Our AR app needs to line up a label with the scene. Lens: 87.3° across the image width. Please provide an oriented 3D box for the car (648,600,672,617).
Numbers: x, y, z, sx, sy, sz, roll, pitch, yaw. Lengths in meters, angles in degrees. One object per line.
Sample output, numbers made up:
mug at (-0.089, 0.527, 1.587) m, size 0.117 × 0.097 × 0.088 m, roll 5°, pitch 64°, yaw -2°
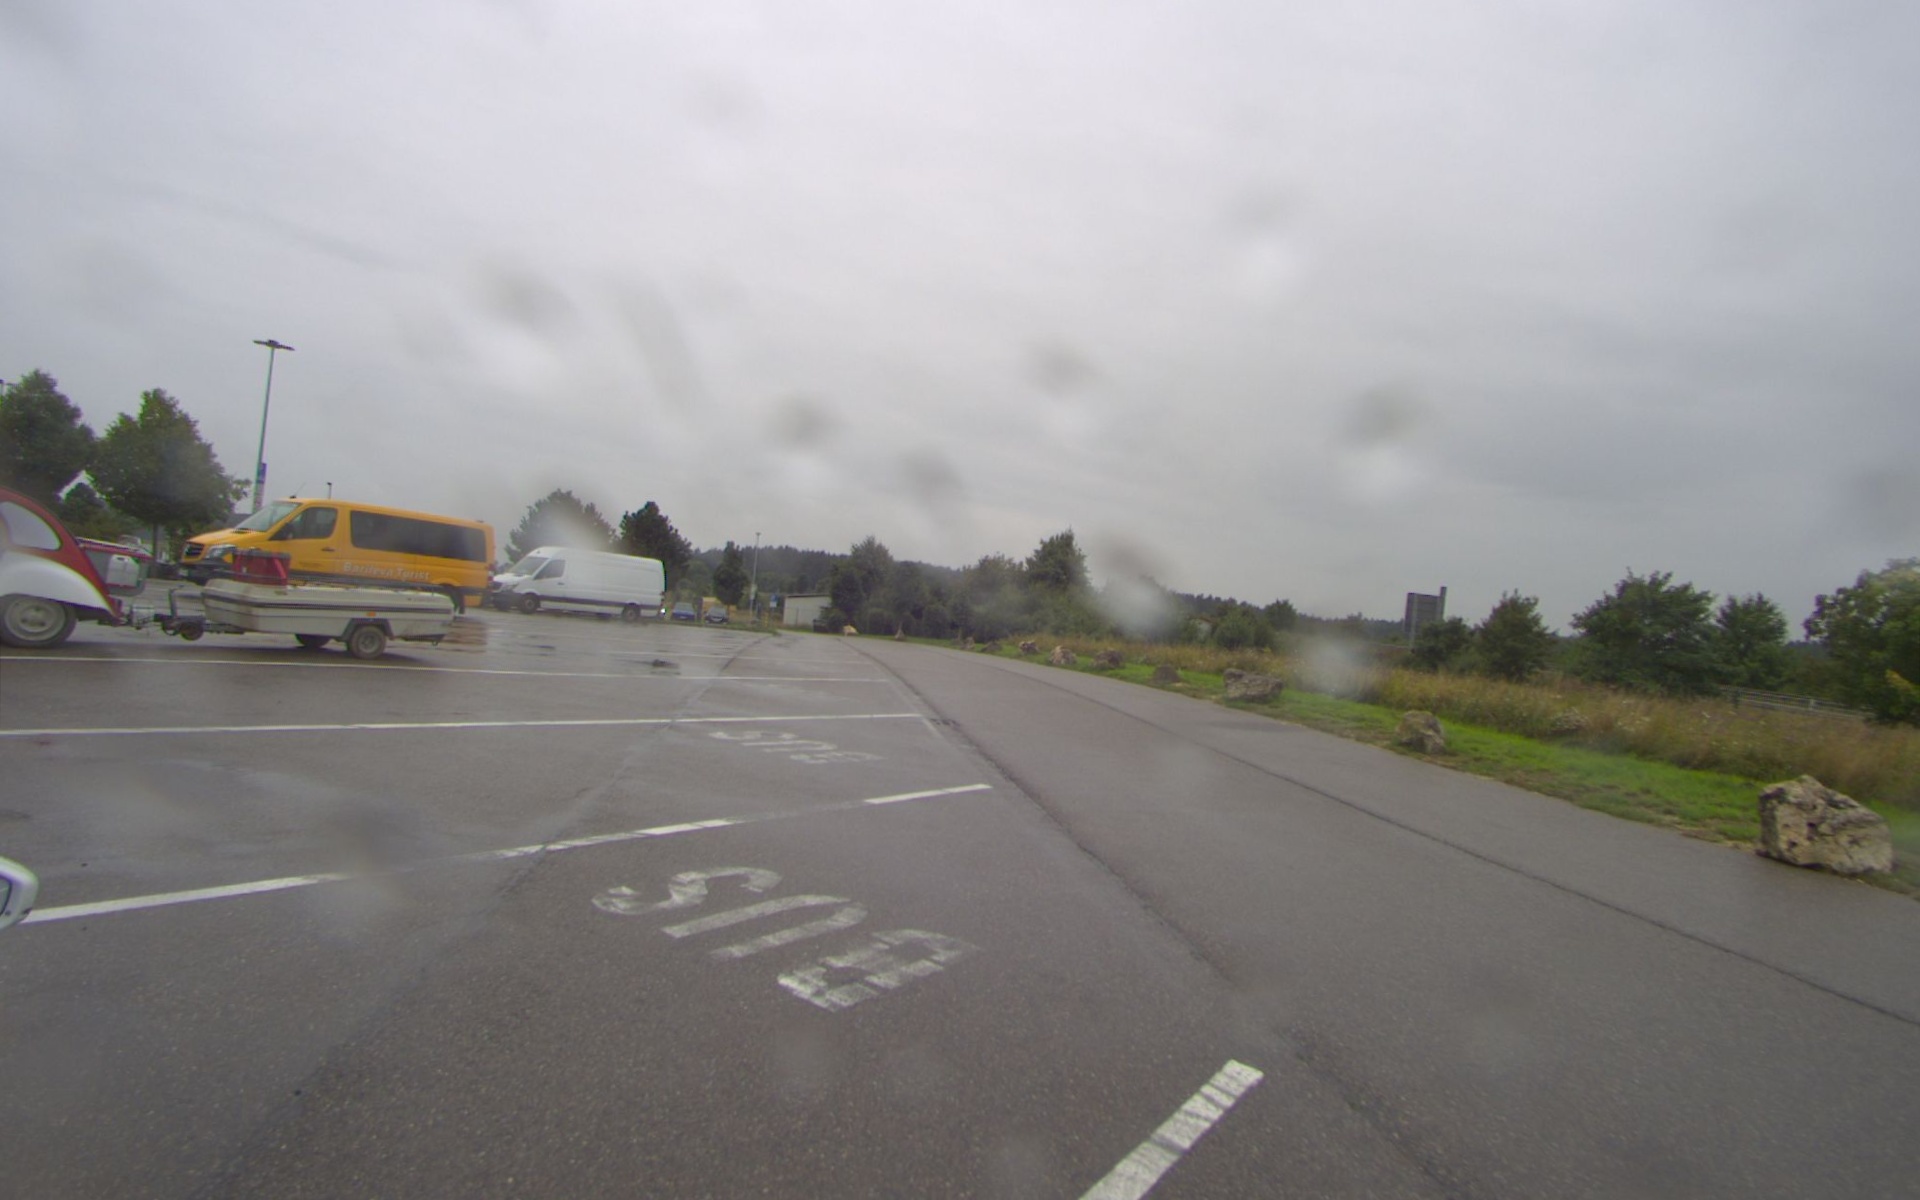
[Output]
car at (-23.447, 0.666, 78.599) m, size 1.476 × 1.013 × 3.560 m, roll 7°, pitch 0°, yaw -13°

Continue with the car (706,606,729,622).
car at (-19.480, 1.127, 80.979) m, size 1.682 × 1.013 × 3.757 m, roll 7°, pitch 0°, yaw -13°

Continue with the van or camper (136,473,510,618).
van or camper at (-13.424, -1.040, 21.780) m, size 2.102 × 2.274 × 6.396 m, roll 7°, pitch 0°, yaw 36°

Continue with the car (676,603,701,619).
car at (-21.720, 0.876, 80.465) m, size 1.682 × 1.013 × 3.757 m, roll 7°, pitch 0°, yaw -13°

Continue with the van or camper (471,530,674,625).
van or camper at (-14.522, -0.741, 38.262) m, size 1.969 × 2.749 × 7.044 m, roll 9°, pitch 1°, yaw 36°

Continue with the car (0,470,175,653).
car at (-9.595, -0.489, 8.760) m, size 1.527 × 1.575 × 4.039 m, roll 7°, pitch 0°, yaw 39°

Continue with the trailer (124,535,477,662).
trailer at (-7.491, 0.030, 11.599) m, size 1.566 × 1.080 × 3.018 m, roll 6°, pitch -1°, yaw 39°
